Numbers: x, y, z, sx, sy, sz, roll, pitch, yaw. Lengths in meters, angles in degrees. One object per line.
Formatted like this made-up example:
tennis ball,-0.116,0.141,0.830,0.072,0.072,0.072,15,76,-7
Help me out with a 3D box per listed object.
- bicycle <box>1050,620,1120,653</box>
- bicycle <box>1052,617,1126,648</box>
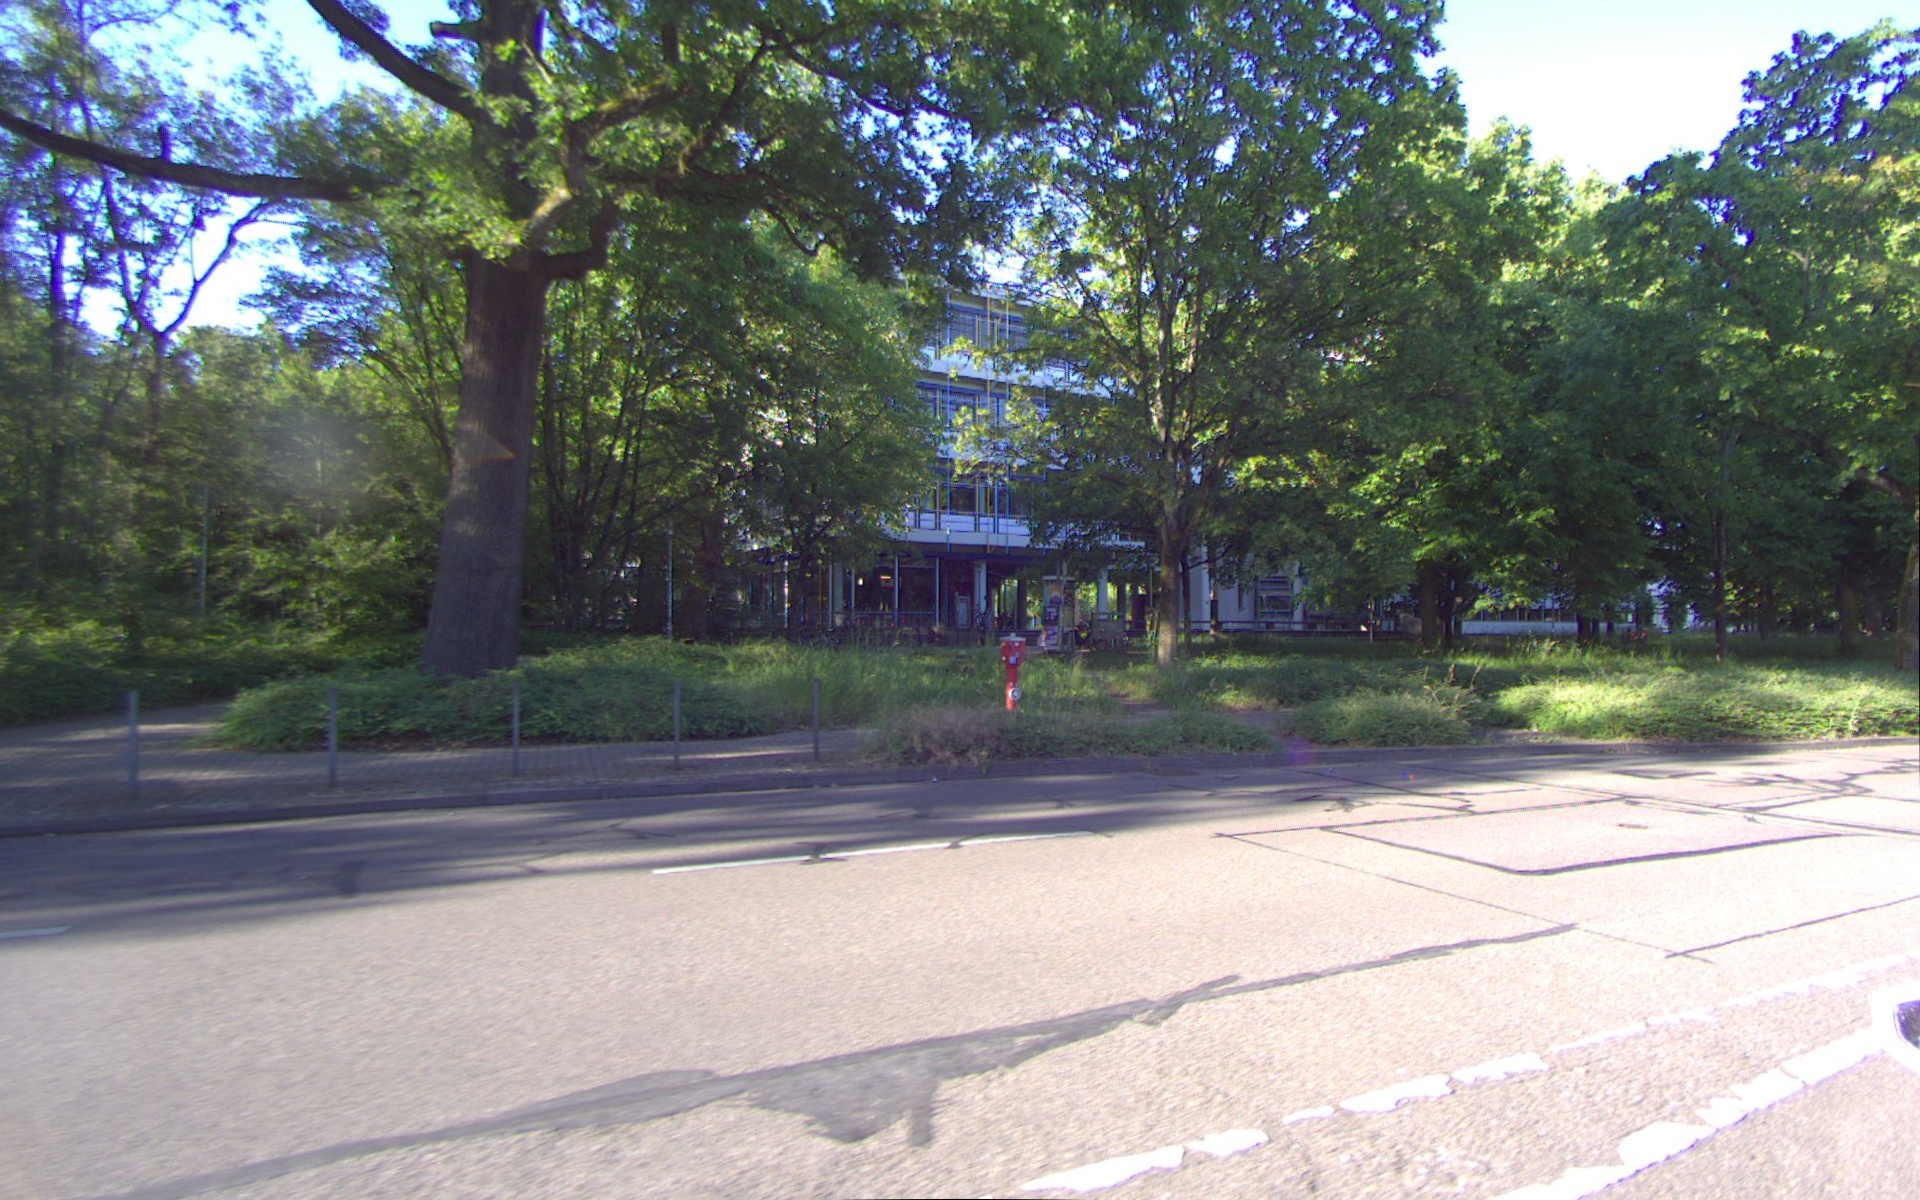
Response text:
bicycle,4.358,1.256,34.962,2.380,1.086,0.537,1,2,8
bicycle,4.670,1.179,36.348,2.589,1.086,0.535,0,3,-14
